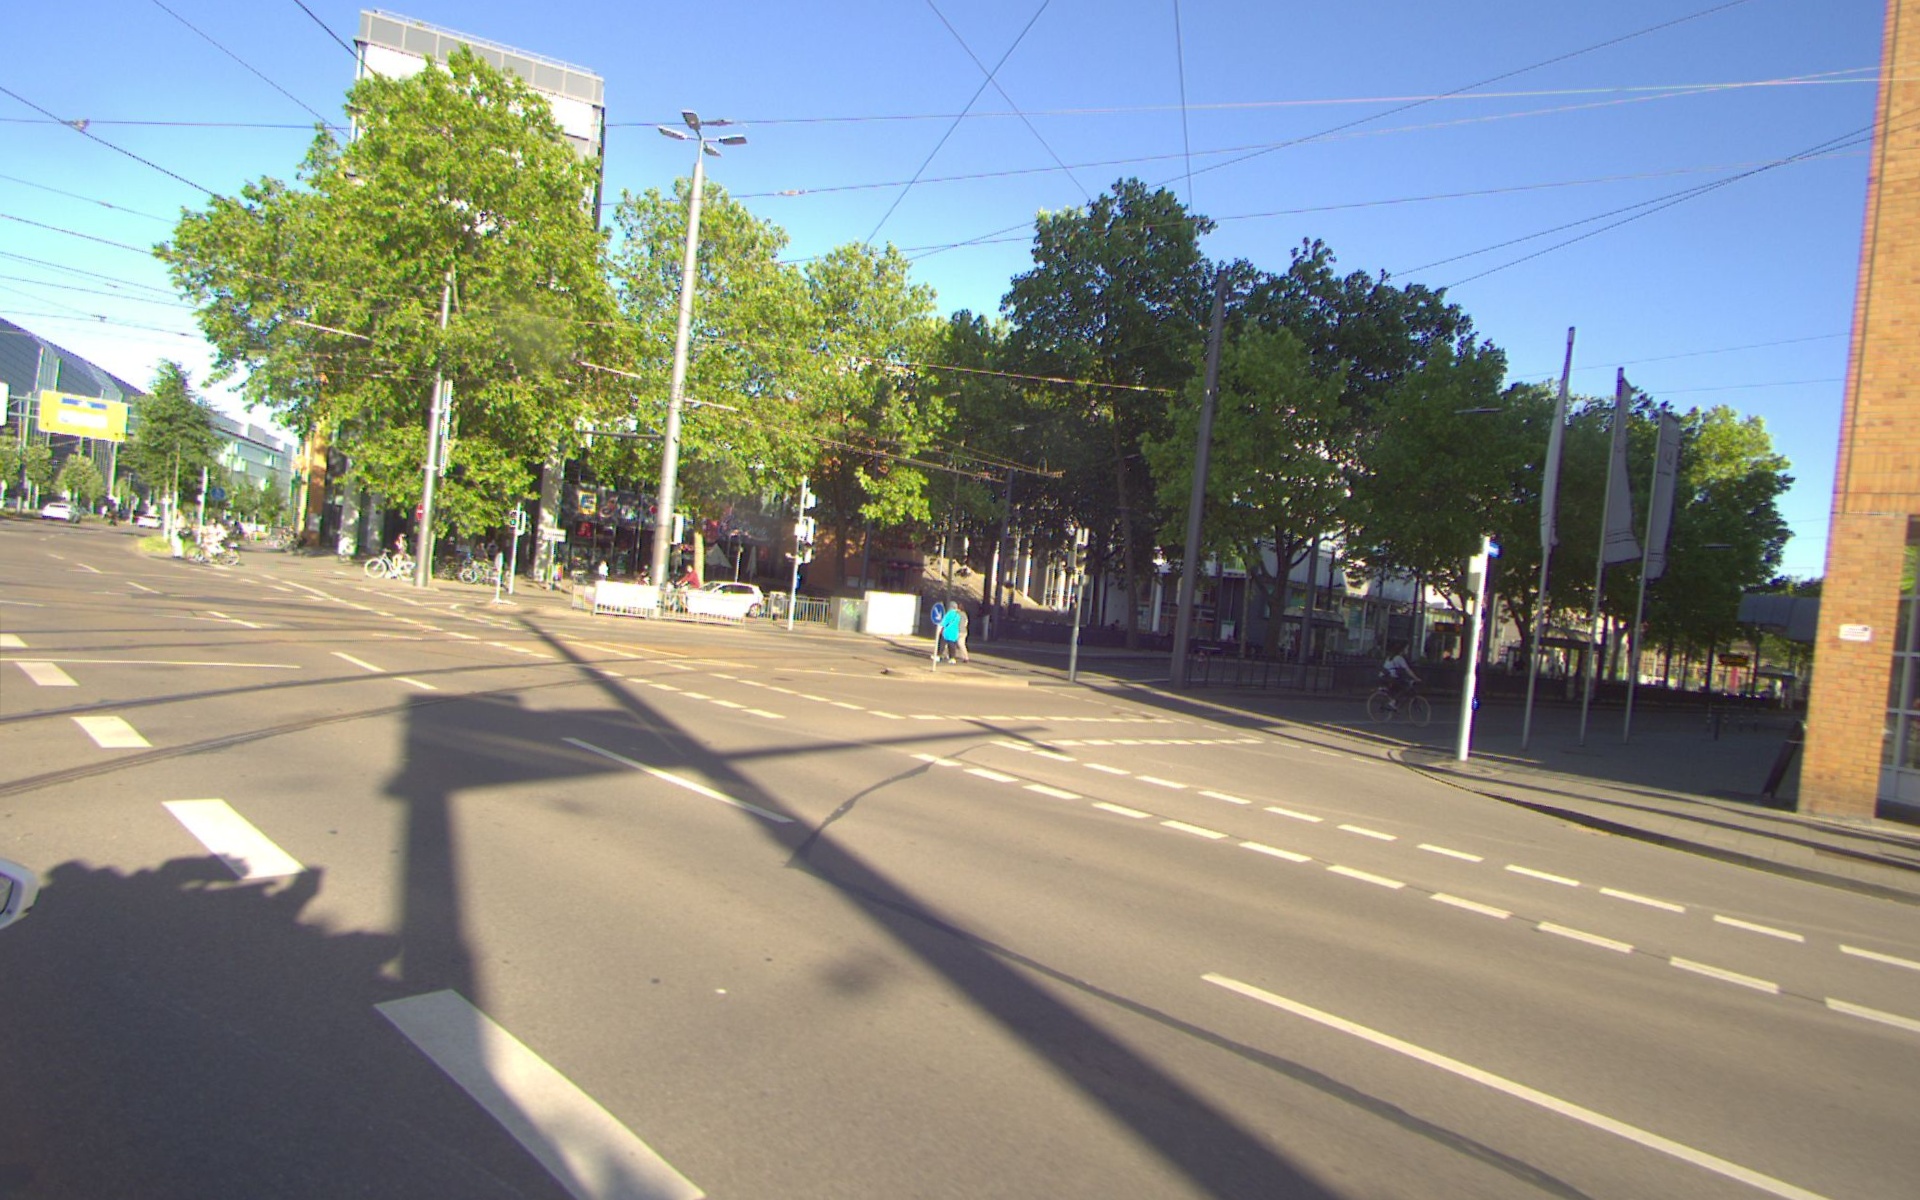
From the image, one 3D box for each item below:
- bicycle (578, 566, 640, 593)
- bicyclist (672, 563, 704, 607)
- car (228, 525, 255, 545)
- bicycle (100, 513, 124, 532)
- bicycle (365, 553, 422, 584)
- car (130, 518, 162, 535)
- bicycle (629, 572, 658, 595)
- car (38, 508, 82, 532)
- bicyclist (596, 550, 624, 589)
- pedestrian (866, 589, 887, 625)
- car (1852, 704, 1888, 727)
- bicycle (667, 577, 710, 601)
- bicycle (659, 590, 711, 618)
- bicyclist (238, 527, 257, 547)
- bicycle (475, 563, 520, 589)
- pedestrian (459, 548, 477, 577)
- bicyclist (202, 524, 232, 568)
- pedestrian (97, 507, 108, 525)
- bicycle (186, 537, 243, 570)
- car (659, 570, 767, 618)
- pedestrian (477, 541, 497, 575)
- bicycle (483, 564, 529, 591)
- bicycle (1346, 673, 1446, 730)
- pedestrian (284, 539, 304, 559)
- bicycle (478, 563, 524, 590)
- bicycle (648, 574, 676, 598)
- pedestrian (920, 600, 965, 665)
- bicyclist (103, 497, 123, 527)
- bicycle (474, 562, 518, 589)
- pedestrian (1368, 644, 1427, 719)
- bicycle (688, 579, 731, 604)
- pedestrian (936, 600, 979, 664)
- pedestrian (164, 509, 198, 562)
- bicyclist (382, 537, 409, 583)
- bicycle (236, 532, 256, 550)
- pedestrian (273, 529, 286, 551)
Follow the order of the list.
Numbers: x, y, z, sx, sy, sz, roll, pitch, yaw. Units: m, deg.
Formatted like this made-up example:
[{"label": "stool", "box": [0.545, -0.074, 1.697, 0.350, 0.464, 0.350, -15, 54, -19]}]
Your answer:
[{"label": "bicycle", "box": [-19.163, -1.111, 54.928, 3.013, 1.127, 0.830, 7, 0, -26]}, {"label": "bicyclist", "box": [-10.861, -0.587, 40.161, 0.629, 1.635, 0.923, 7, 1, 44]}, {"label": "car", "box": [-82.425, -7.387, 115.469, 2.038, 1.896, 4.194, 7, -2, -31]}, {"label": "bicycle", "box": [-80.463, -7.377, 95.464, 1.008, 1.599, 3.547, 6, 0, -29]}, {"label": "bicycle", "box": [-22.393, -1.243, 39.762, 1.843, 1.034, 0.511, 6, 0, -38]}, {"label": "car", "box": [-85.993, -7.753, 106.315, 2.001, 1.393, 4.006, 7, 0, -31]}, {"label": "bicycle", "box": [-16.855, -0.865, 53.686, 0.862, 1.105, 2.928, 7, 0, -8]}, {"label": "car", "box": [-72.115, -6.378, 80.661, 1.890, 1.526, 3.966, 8, -2, -33]}, {"label": "bicyclist", "box": [-19.106, -1.665, 54.909, 1.215, 1.955, 0.830, 6, 1, -25]}, {"label": "pedestrian", "box": [-4.349, 0.355, 52.351, 0.634, 1.798, 0.614, 6, 1, 41]}, {"label": "car", "box": [81.037, 10.287, 89.565, 3.731, 1.690, 1.903, 7, 1, -42]}, {"label": "bicycle", "box": [-14.578, -0.574, 54.113, 0.861, 1.105, 2.933, 7, 0, 14]}, {"label": "bicycle", "box": [-10.954, 0.164, 40.147, 0.644, 0.921, 1.848, 7, 0, 45]}, {"label": "bicyclist", "box": [-54.440, -4.825, 76.827, 1.035, 1.398, 1.547, 6, 0, -38]}, {"label": "bicycle", "box": [-20.653, -1.071, 44.930, 1.695, 0.998, 0.387, 6, 1, -36]}, {"label": "pedestrian", "box": [-27.764, -2.114, 56.754, 0.768, 1.546, 0.561, 6, 1, -23]}, {"label": "bicyclist", "box": [-27.304, -1.993, 36.971, 0.739, 1.522, 0.563, 5, 1, -41]}, {"label": "pedestrian", "box": [-90.716, -8.908, 106.428, 0.633, 1.842, 0.627, 6, 1, -17]}, {"label": "bicycle", "box": [-27.379, -1.703, 36.953, 1.620, 1.034, 0.511, 6, 0, -40]}, {"label": "car", "box": [-10.598, -0.232, 43.277, 1.975, 1.503, 3.978, 5, -2, 45]}, {"label": "pedestrian", "box": [-28.055, -2.494, 59.677, 0.840, 1.873, 0.805, 8, -1, -26]}, {"label": "bicycle", "box": [-19.602, -0.969, 43.490, 1.695, 0.998, 0.387, 6, 1, -36]}, {"label": "bicycle", "box": [10.110, 2.354, 23.367, 1.889, 1.064, 0.791, 7, -1, -7]}, {"label": "pedestrian", "box": [-38.961, -2.989, 58.849, 0.777, 1.070, 0.808, 6, 1, -26]}, {"label": "bicycle", "box": [-20.141, -1.034, 44.162, 1.695, 0.998, 0.387, 6, 1, -36]}, {"label": "bicycle", "box": [-15.963, -0.748, 53.940, 0.862, 1.105, 2.928, 7, 0, -8]}, {"label": "pedestrian", "box": [-0.441, 0.827, 25.602, 0.730, 1.558, 0.675, 6, -1, 33]}, {"label": "bicyclist", "box": [-80.326, -8.301, 95.408, 1.008, 2.657, 1.460, 6, 1, -29]}, {"label": "bicycle", "box": [-20.907, -1.089, 45.320, 1.695, 0.998, 0.387, 6, 1, -36]}, {"label": "pedestrian", "box": [10.143, 1.872, 23.351, 0.823, 1.613, 0.771, 7, -1, -7]}, {"label": "bicycle", "box": [-13.572, -0.442, 54.576, 0.861, 1.105, 2.933, 7, 0, 14]}, {"label": "pedestrian", "box": [-0.062, 0.833, 26.338, 0.730, 1.558, 0.650, 6, -1, 33]}, {"label": "pedestrian", "box": [-29.222, -2.407, 37.747, 0.691, 1.859, 0.514, 7, -1, -14]}, {"label": "bicyclist", "box": [-22.322, -1.589, 39.804, 0.738, 1.716, 0.564, 5, 1, -38]}, {"label": "bicycle", "box": [-54.614, -4.515, 76.930, 1.035, 1.147, 3.147, 6, 0, -38]}, {"label": "pedestrian", "box": [-52.541, -4.638, 77.640, 0.701, 1.589, 0.617, 5, 1, -34]}]
